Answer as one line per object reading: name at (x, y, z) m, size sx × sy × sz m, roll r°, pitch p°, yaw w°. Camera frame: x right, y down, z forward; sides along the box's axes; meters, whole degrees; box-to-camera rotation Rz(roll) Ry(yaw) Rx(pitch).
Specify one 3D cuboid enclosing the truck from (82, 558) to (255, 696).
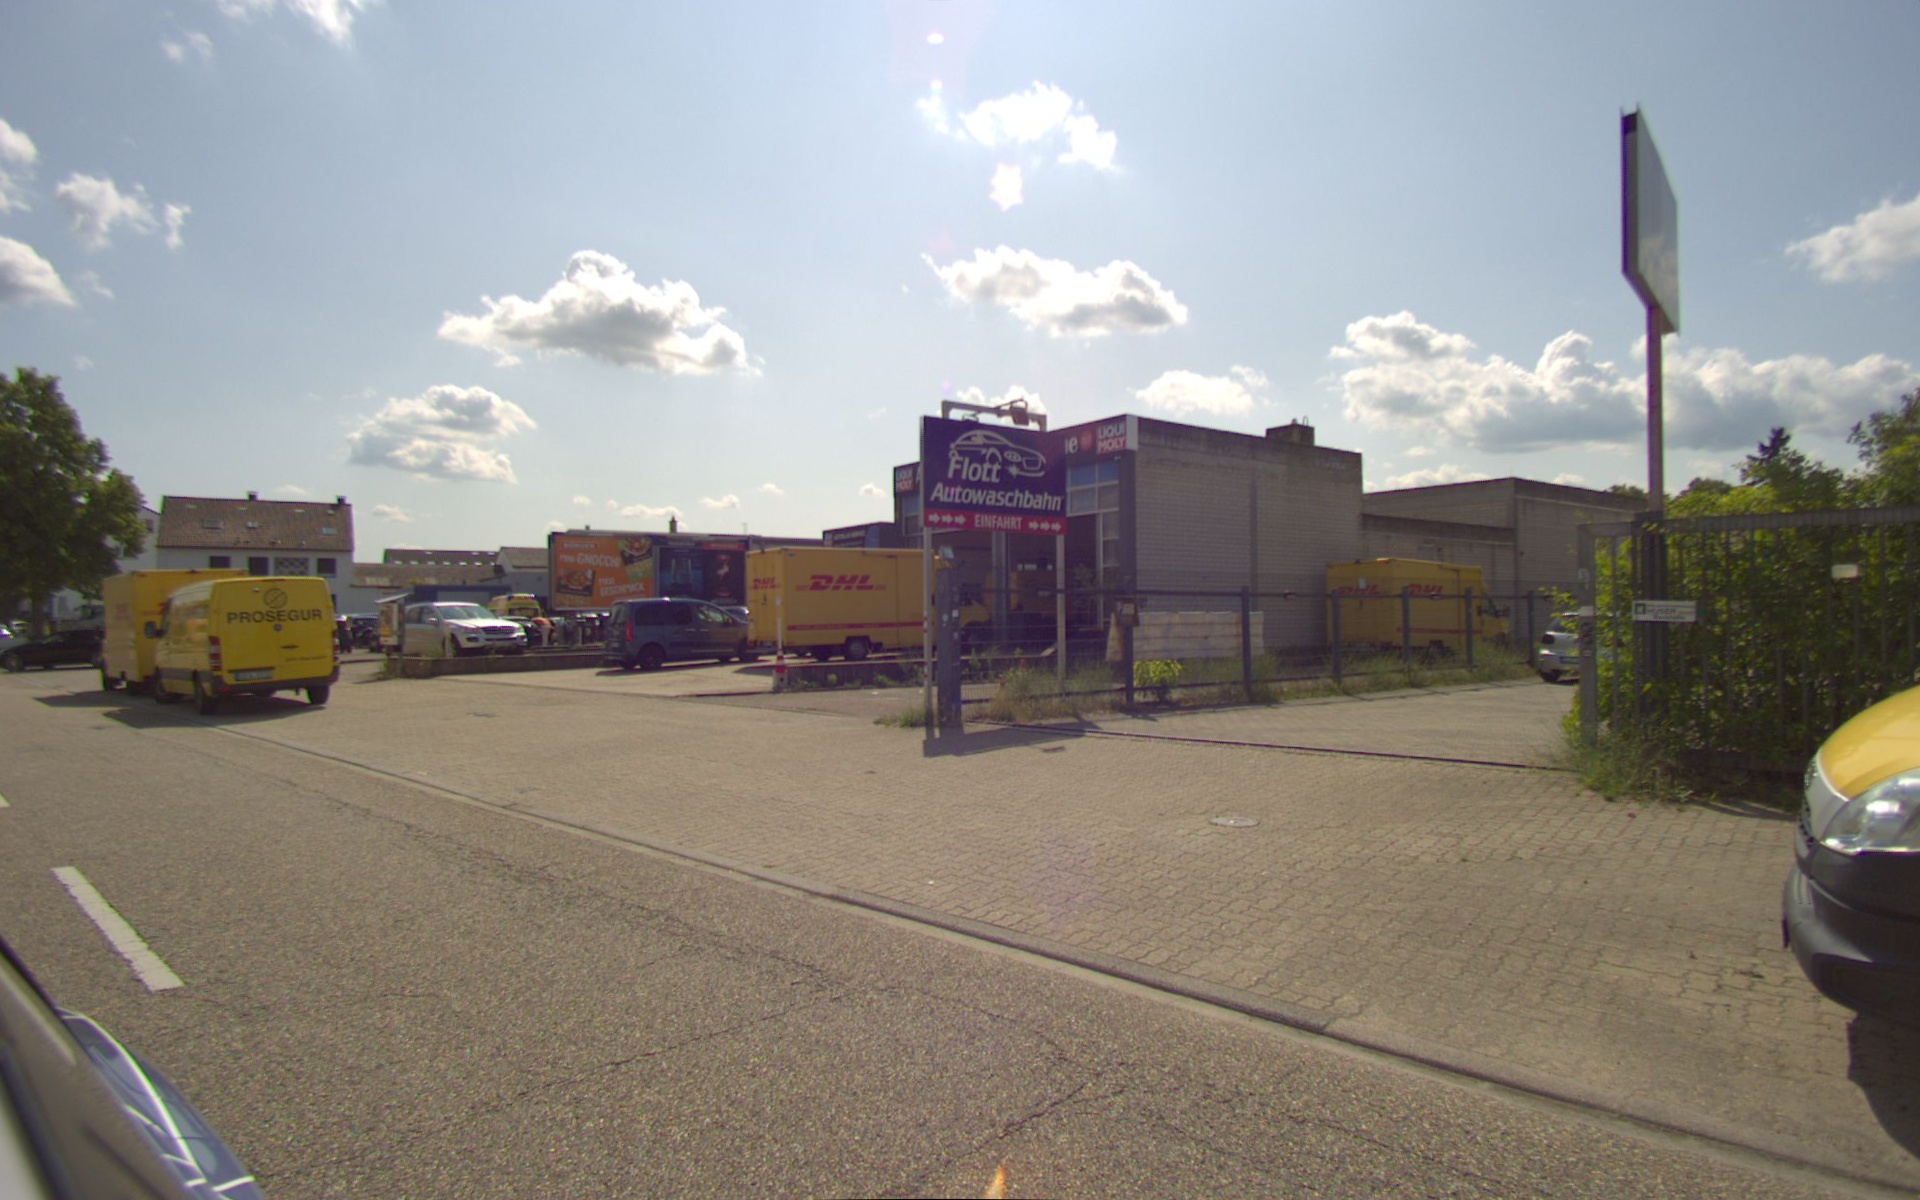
truck at (-19.120, 0.600, 24.265) m, size 7.070 × 2.878 × 2.196 m, roll -1°, pitch 0°, yaw 43°

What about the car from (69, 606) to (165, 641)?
car at (-57.621, 1.552, 69.319) m, size 4.934 × 2.248 × 2.005 m, roll 0°, pitch 0°, yaw -36°

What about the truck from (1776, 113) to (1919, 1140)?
truck at (5.884, 0.036, 1.523) m, size 7.171 × 2.876 × 2.245 m, roll -1°, pitch 1°, yaw 41°

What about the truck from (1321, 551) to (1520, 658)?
truck at (13.363, 0.167, 29.210) m, size 6.331 × 2.786 × 2.330 m, roll 1°, pitch -2°, yaw -35°

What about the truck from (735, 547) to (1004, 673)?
truck at (-2.251, 0.165, 26.462) m, size 6.511 × 2.871 × 2.535 m, roll -3°, pitch 0°, yaw -36°

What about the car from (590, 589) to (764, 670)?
car at (-7.325, 0.712, 26.348) m, size 3.878 × 1.823 × 1.859 m, roll -3°, pitch 1°, yaw -39°

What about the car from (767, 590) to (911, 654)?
car at (-3.466, 0.612, 29.236) m, size 3.793 × 1.744 × 1.736 m, roll 0°, pitch -1°, yaw -38°

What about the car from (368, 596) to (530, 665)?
car at (-13.797, 0.809, 27.263) m, size 4.693 × 1.718 × 1.814 m, roll -1°, pitch -1°, yaw 33°

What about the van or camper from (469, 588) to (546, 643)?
van or camper at (-22.064, 0.801, 49.179) m, size 1.969 × 2.494 × 5.369 m, roll 0°, pitch -2°, yaw -41°

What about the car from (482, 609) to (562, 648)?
car at (-16.032, 1.071, 36.940) m, size 1.867 × 1.300 × 3.757 m, roll 0°, pitch -2°, yaw -37°

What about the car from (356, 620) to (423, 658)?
car at (-25.768, 1.721, 45.630) m, size 1.733 × 1.545 × 4.169 m, roll -2°, pitch 0°, yaw -42°

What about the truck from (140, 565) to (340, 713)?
truck at (-13.942, 0.702, 19.415) m, size 6.064 × 2.432 × 1.972 m, roll -2°, pitch -1°, yaw 43°

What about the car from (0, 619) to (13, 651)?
car at (-47.769, 1.741, 49.501) m, size 4.237 × 1.539 × 1.813 m, roll -2°, pitch 1°, yaw 43°

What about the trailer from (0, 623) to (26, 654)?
trailer at (-44.358, 1.783, 46.433) m, size 4.507 × 1.299 × 1.743 m, roll -2°, pitch 2°, yaw 42°

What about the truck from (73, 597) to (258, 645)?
truck at (-50.847, 1.358, 65.044) m, size 9.150 × 2.878 × 2.722 m, roll 1°, pitch -2°, yaw -44°

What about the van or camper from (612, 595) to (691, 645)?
van or camper at (-16.191, 1.087, 52.887) m, size 1.969 × 2.494 × 5.369 m, roll 0°, pitch -2°, yaw -41°

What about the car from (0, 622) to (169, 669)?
car at (-31.305, 1.585, 36.012) m, size 4.516 × 1.405 × 2.006 m, roll -2°, pitch 1°, yaw -14°

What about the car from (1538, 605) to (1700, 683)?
car at (13.595, 0.829, 20.806) m, size 3.939 × 1.401 × 1.861 m, roll 0°, pitch 1°, yaw -42°

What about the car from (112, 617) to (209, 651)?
car at (-45.068, 1.864, 57.072) m, size 1.828 × 1.802 × 4.097 m, roll -1°, pitch -1°, yaw 44°
